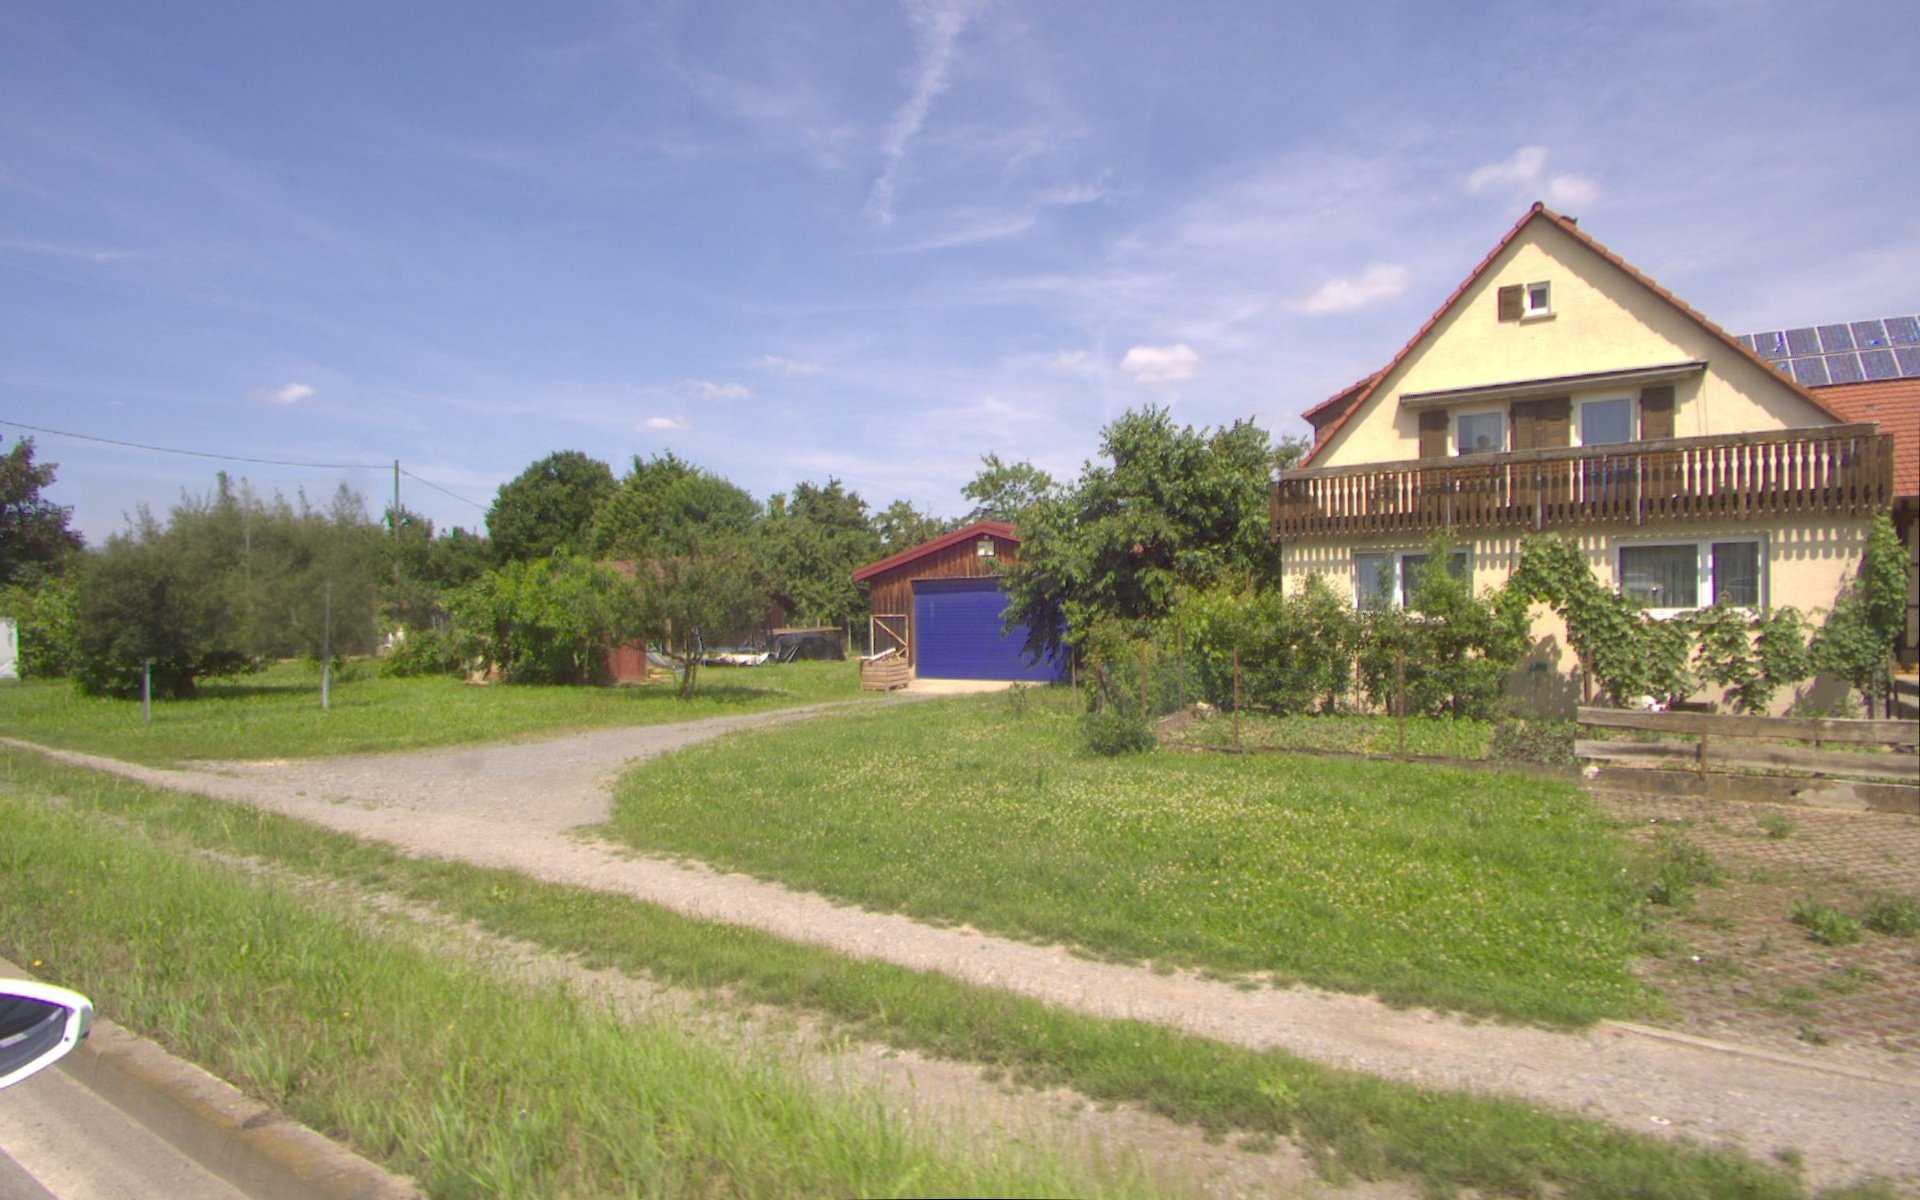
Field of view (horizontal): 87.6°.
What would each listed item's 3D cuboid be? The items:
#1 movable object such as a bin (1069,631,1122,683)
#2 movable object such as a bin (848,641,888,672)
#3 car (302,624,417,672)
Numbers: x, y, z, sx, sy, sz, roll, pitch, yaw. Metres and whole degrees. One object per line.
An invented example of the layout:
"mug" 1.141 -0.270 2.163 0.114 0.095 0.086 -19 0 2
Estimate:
"movable object such as a bin" 3.872 1.615 28.619 1.049 1.415 1.271 0 -2 34
"movable object such as a bin" -3.186 1.957 34.753 1.045 1.046 1.040 0 -1 19
"car" -26.713 2.124 44.600 1.976 2.039 3.970 -1 -2 40
